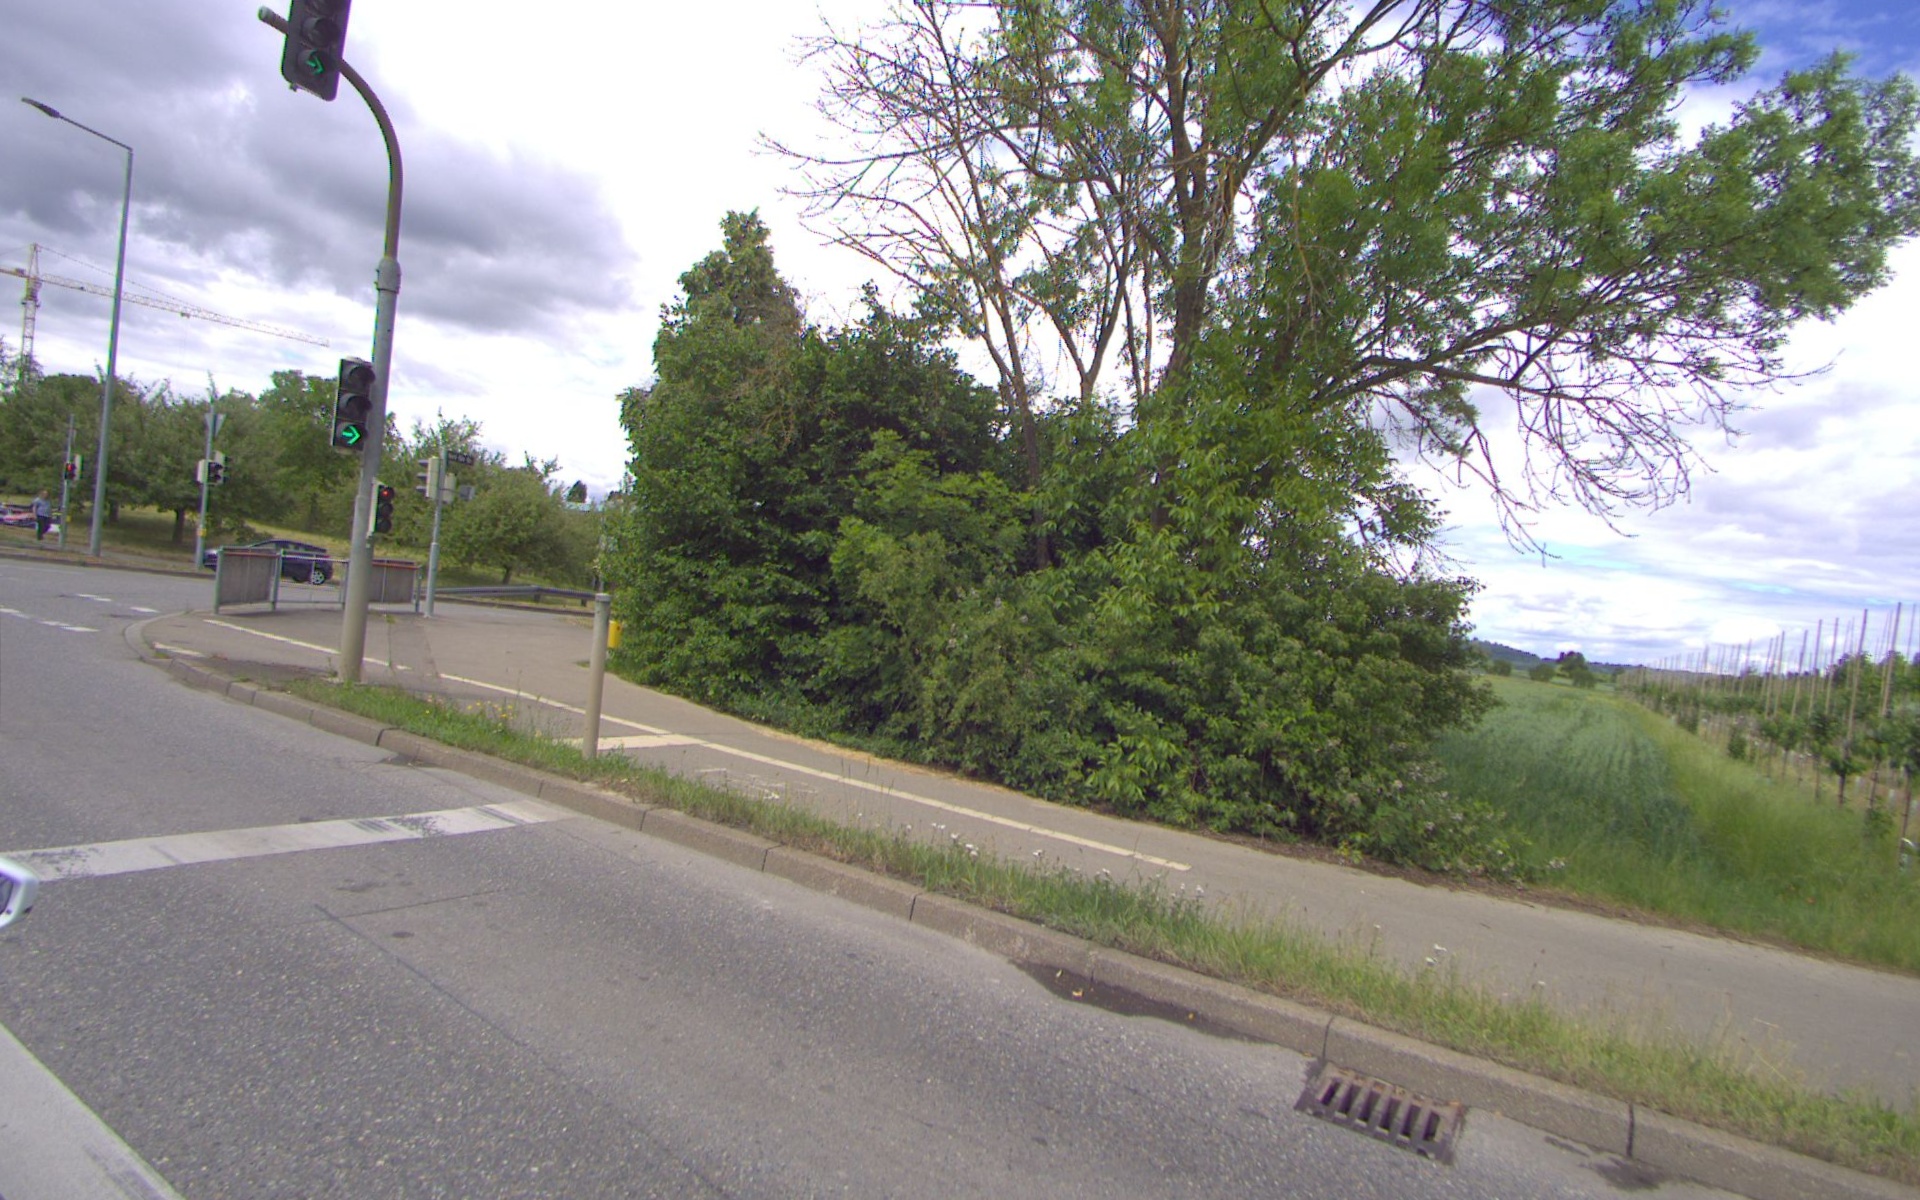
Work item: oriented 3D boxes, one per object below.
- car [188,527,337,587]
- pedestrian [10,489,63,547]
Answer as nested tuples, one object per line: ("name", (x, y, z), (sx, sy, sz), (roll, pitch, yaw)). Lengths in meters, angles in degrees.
("car", (-24.405, -1.484, 35.309), (1.735, 1.463, 3.878), (6, -3, 40))
("pedestrian", (-32.053, -2.852, 34.914), (1.023, 1.813, 0.721), (7, -1, 13))
